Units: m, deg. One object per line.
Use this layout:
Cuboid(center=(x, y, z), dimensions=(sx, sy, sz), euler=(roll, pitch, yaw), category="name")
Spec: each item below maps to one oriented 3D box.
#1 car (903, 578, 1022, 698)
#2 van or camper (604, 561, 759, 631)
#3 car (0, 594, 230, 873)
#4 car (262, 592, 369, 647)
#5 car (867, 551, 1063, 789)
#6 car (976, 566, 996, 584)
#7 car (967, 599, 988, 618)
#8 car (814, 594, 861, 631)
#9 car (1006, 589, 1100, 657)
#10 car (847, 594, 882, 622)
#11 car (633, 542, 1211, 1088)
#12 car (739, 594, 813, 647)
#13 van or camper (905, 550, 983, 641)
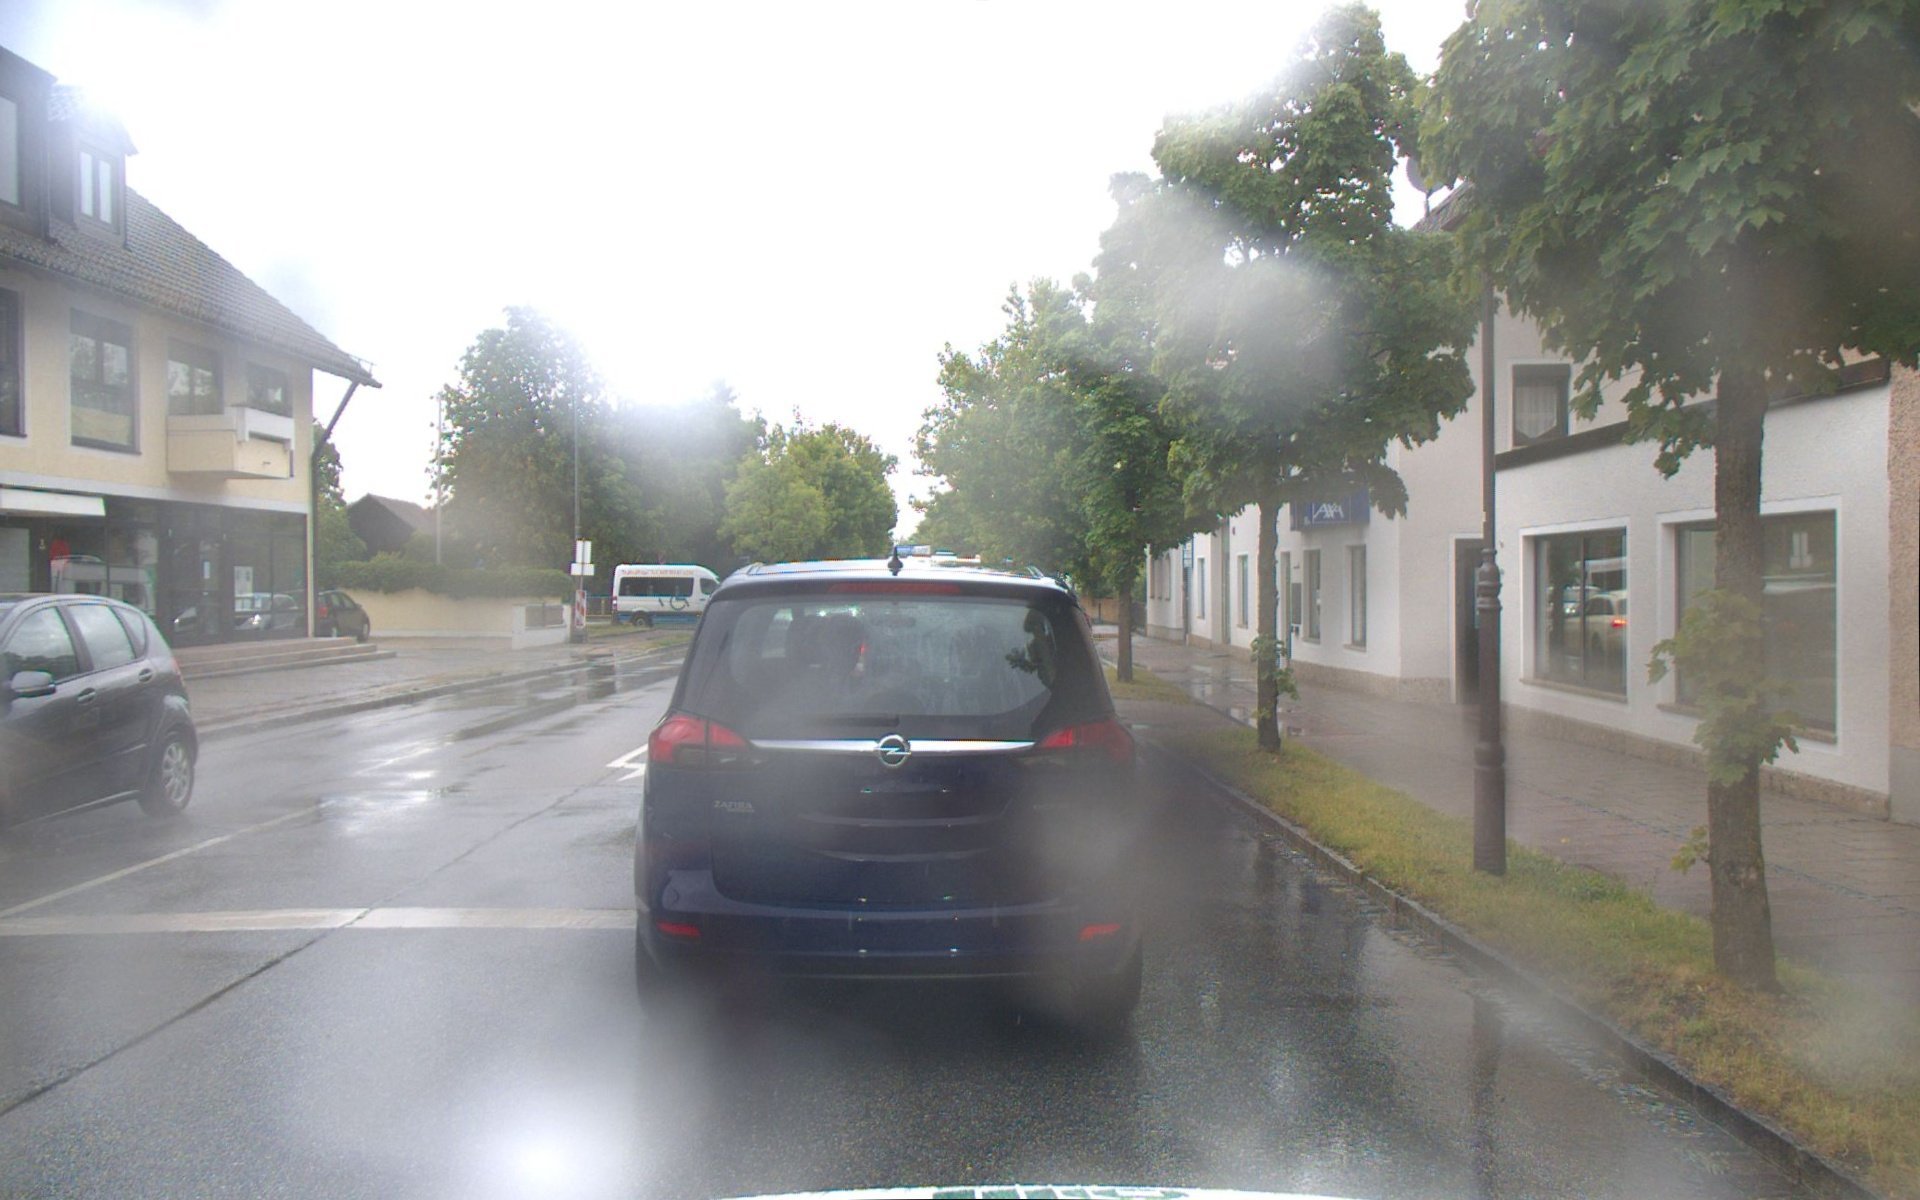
Cuboid(center=(0.017, 0.539, 25.905), dimensions=(1.720, 1.736, 3.618), euler=(0, 0, -1), category="car")
Cuboid(center=(-11.316, -0.171, 67.583), dimensions=(6.128, 2.754, 2.098), euler=(0, 0, -7), category="van or camper")
Cuboid(center=(-6.363, 0.766, 10.361), dimensions=(1.877, 1.560, 3.898), euler=(-1, 0, -1), category="car")
Cuboid(center=(-17.679, 0.505, 45.509), dimensions=(1.574, 1.404, 3.508), euler=(-1, 0, -1), category="car")
Cuboid(center=(0.019, 0.535, 14.284), dimensions=(1.470, 1.807, 3.111), euler=(1, 0, -1), category="car")
Cuboid(center=(2.184, -2.106, 140.727), dimensions=(1.597, 1.402, 3.622), euler=(-1, 0, -1), category="car")
Cuboid(center=(1.377, 0.681, 131.259), dimensions=(1.597, 1.402, 3.622), euler=(1, 0, -1), category="car")
Cuboid(center=(-5.514, 0.540, 74.797), dimensions=(1.887, 1.594, 4.125), euler=(-1, 0, -1), category="car")
Cuboid(center=(2.341, 0.575, 42.489), dimensions=(2.075, 1.609, 3.934), euler=(1, 0, -1), category="car")
Cuboid(center=(-5.477, 0.441, 95.217), dimensions=(1.716, 1.538, 4.230), euler=(-2, 0, 0), category="car")
Cuboid(center=(-0.136, 0.653, 6.883), dimensions=(1.733, 1.632, 3.662), euler=(1, 0, -1), category="car")
Cuboid(center=(-5.817, 0.628, 52.836), dimensions=(1.927, 1.590, 4.151), euler=(-1, 0, -1), category="car")
Cuboid(center=(-0.510, -0.152, 52.286), dimensions=(2.312, 2.712, 5.370), euler=(0, 0, -1), category="van or camper")
